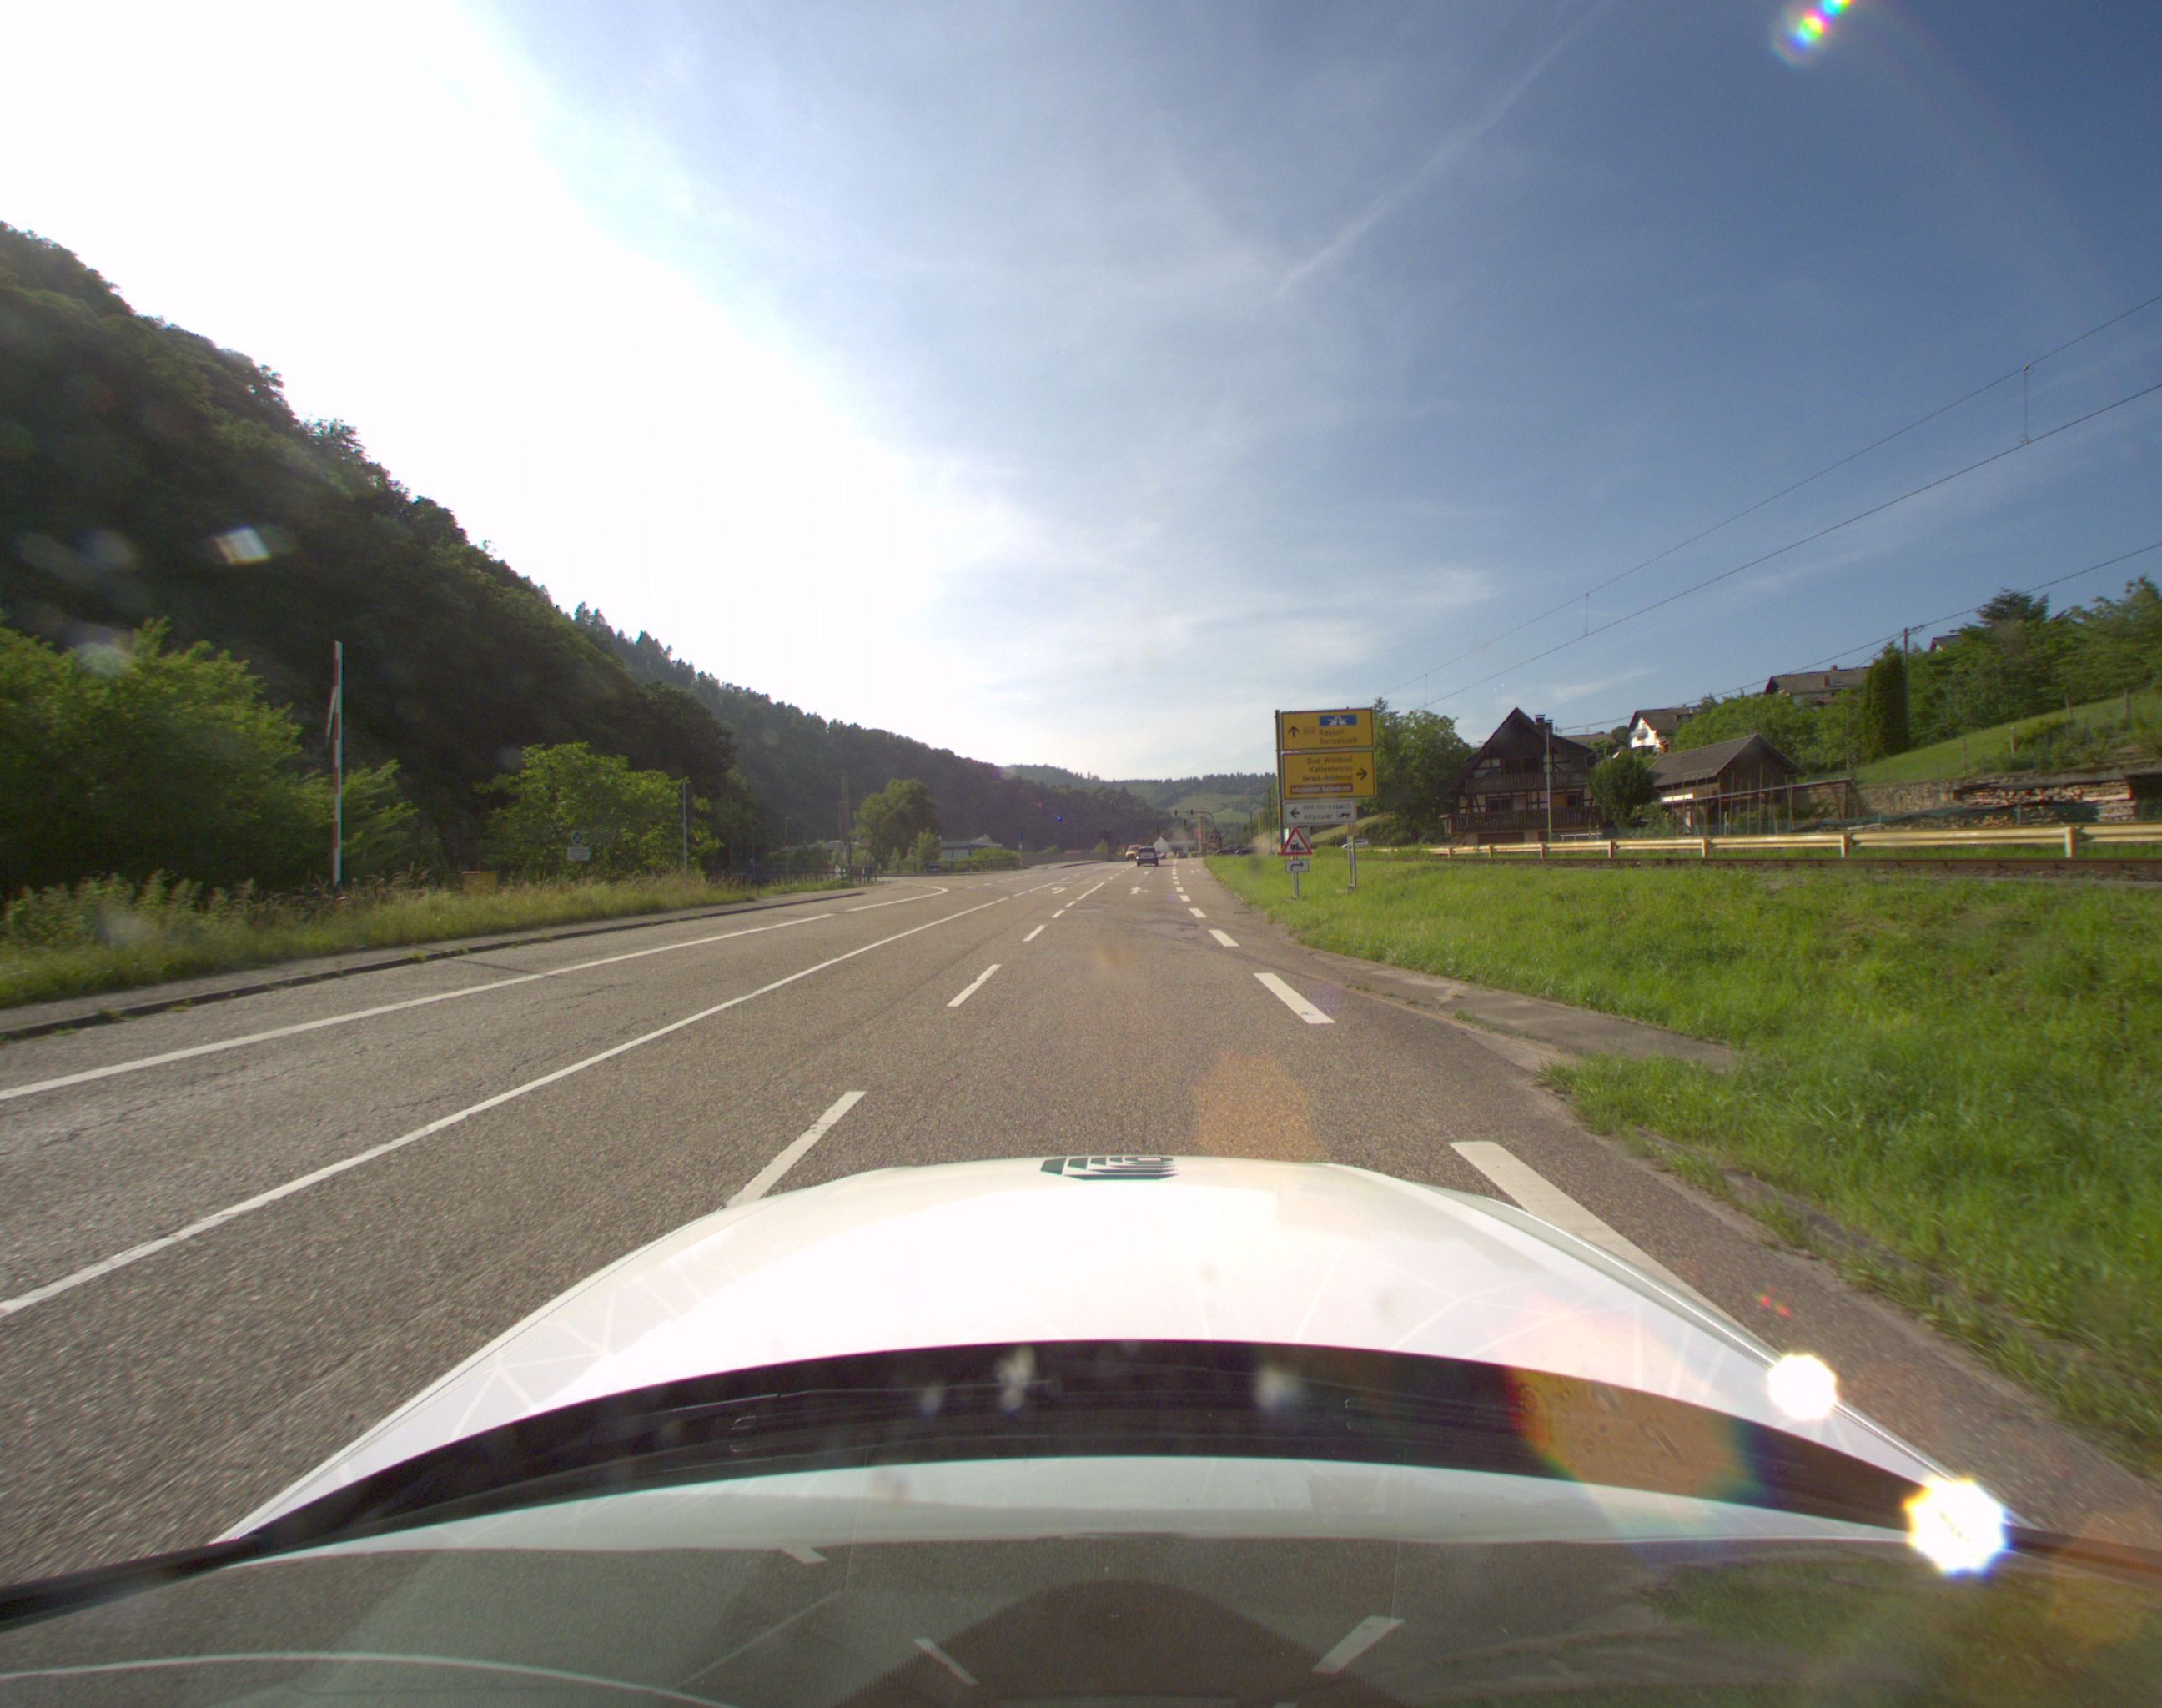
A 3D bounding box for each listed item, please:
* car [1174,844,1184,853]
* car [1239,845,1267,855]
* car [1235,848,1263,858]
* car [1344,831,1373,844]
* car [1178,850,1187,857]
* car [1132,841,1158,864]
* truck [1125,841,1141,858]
[{"bbox_3d":[22.612,-1.322,187.788,1.983,2.013,4.007,-3,0,6],"label":"car"},{"bbox_3d":[27.085,-0.623,128.129,3.953,1.354,1.888,-2,1,21],"label":"car"},{"bbox_3d":[25.967,-0.103,125.700,3.953,1.354,1.888,-2,1,21],"label":"car"},{"bbox_3d":[41.991,-2.480,123.328,3.953,1.881,1.888,-2,1,21],"label":"car"},{"bbox_3d":[24.986,-0.107,200.964,1.983,1.618,4.007,-3,0,6],"label":"car"},{"bbox_3d":[5.478,-0.146,69.235,1.984,1.723,3.996,-4,0,5],"label":"car"},{"bbox_3d":[7.821,-0.713,121.601,1.983,2.343,5.708,-2,1,6],"label":"truck"}]
